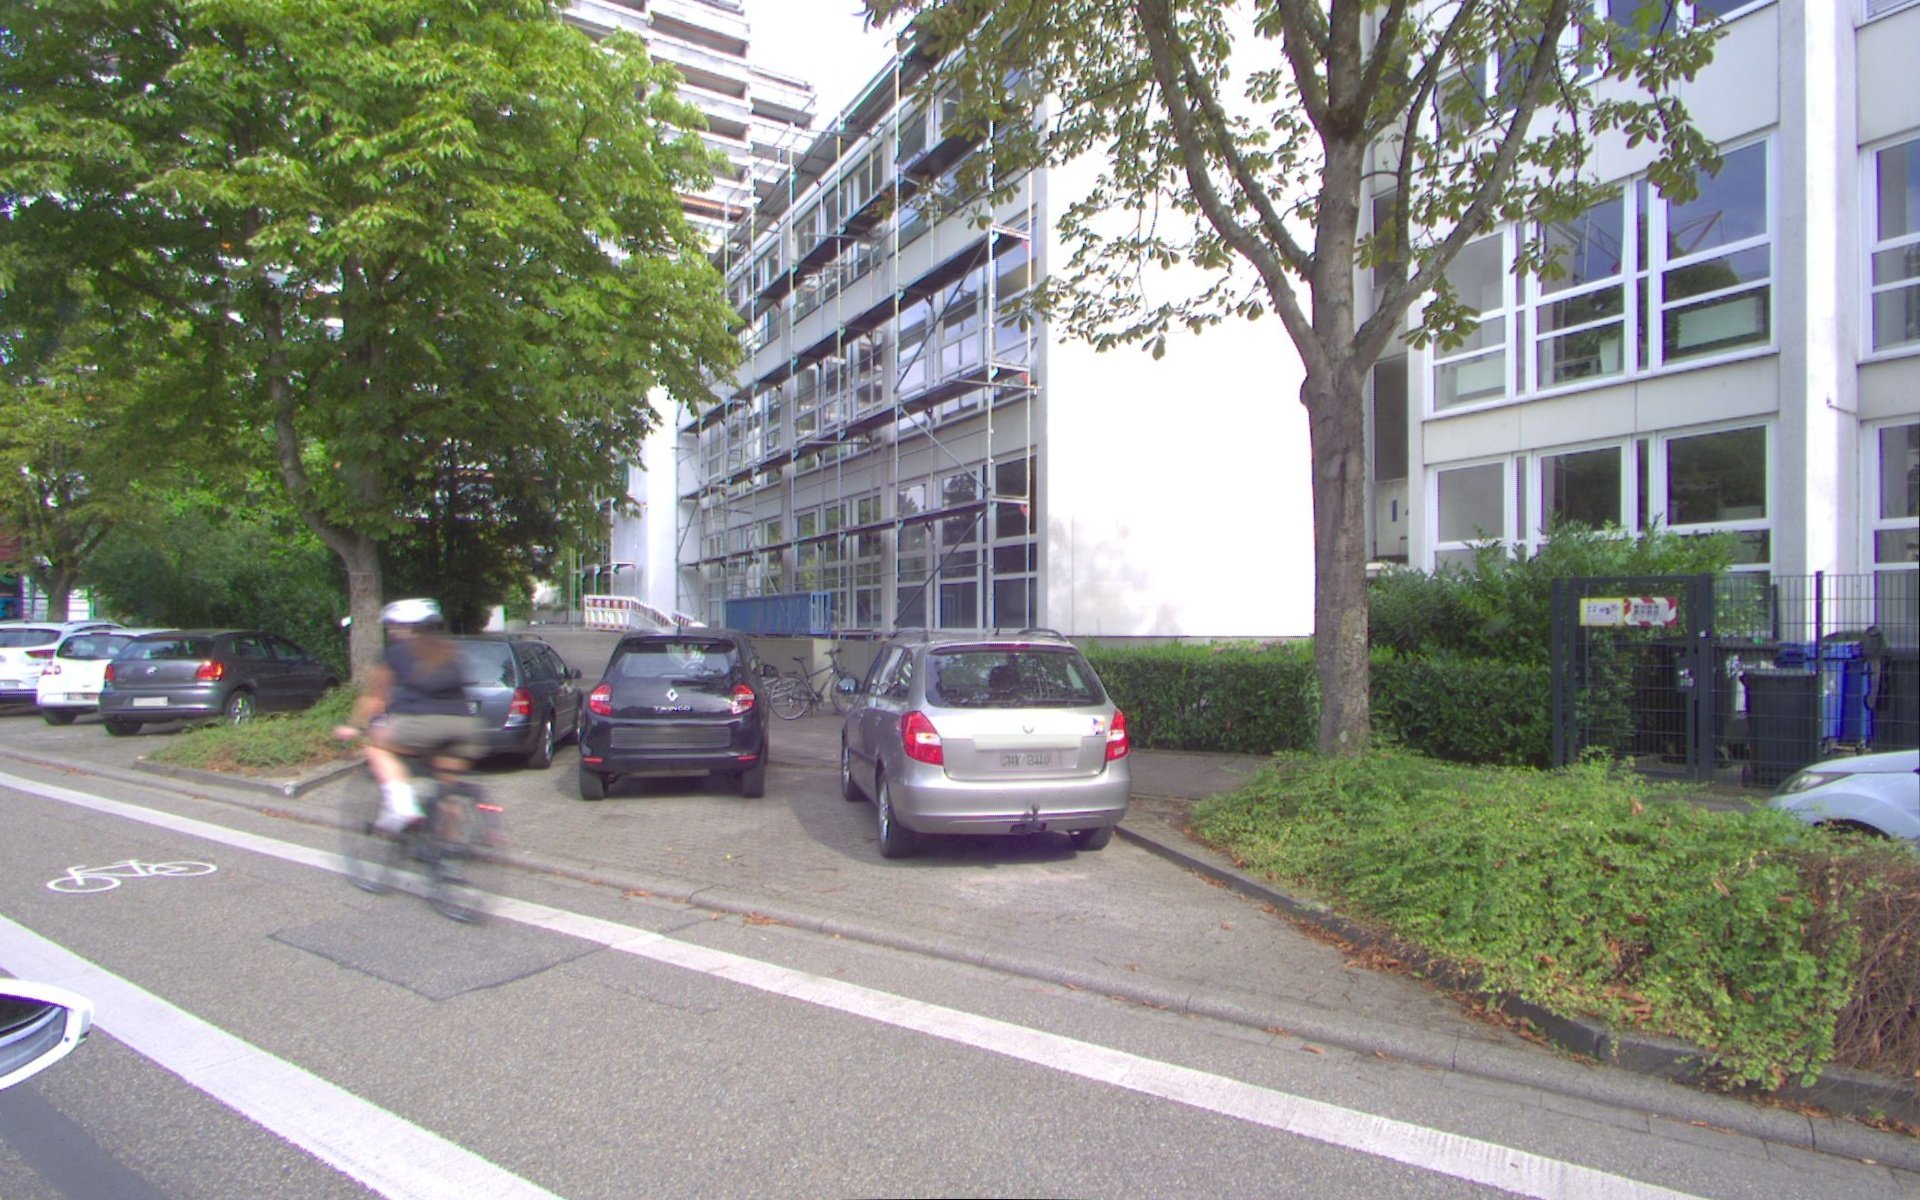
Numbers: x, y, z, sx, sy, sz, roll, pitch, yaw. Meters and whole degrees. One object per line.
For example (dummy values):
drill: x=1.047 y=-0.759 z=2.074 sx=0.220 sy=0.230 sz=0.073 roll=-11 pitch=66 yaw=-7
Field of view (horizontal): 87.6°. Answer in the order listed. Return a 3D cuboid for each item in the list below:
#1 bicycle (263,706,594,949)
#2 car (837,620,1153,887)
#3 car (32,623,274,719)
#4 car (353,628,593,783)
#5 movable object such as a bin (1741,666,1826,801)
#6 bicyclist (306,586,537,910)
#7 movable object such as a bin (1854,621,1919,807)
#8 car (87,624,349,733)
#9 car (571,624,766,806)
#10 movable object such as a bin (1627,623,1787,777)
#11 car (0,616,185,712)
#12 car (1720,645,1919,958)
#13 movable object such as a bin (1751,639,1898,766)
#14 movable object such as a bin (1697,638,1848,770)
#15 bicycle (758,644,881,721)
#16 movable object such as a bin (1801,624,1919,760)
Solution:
bicycle: x=-2.952 y=1.148 z=5.485 sx=2.041 sy=0.993 sz=0.637 roll=0 pitch=-1 yaw=31
car: x=0.014 y=0.964 z=7.807 sx=1.610 sy=1.541 sz=3.738 roll=1 pitch=-2 yaw=-12
car: x=-13.438 y=1.129 z=16.948 sx=1.530 sy=1.461 sz=3.447 roll=0 pitch=-1 yaw=-6
car: x=-5.393 y=1.080 z=11.582 sx=1.610 sy=1.477 sz=3.738 roll=1 pitch=-2 yaw=-12
movable object such as a bin: x=7.329 y=1.160 z=8.909 sx=0.566 sy=1.117 sz=0.647 roll=0 pitch=-2 yaw=42
bicyclist: x=-2.946 y=0.738 z=5.479 sx=1.094 sy=1.590 sz=0.637 roll=0 pitch=-1 yaw=31
movable object such as a bin: x=8.517 y=0.955 z=8.439 sx=1.316 sy=1.527 sz=1.067 roll=0 pitch=-2 yaw=34
car: x=-11.002 y=1.103 z=15.175 sx=1.593 sy=1.461 sz=3.536 roll=0 pitch=-2 yaw=-6
car: x=-2.877 y=1.045 z=10.469 sx=1.610 sy=1.541 sz=3.738 roll=1 pitch=-2 yaw=-12
movable object such as a bin: x=8.029 y=1.028 z=10.778 sx=1.105 sy=1.542 sz=1.072 roll=2 pitch=-2 yaw=-33
car: x=-16.182 y=1.107 z=18.330 sx=1.530 sy=1.593 sz=3.447 roll=0 pitch=-1 yaw=-6
car: x=5.562 y=0.939 z=4.033 sx=1.611 sy=1.478 sz=3.825 roll=1 pitch=-2 yaw=-14
movable object such as a bin: x=10.113 y=1.161 z=11.732 sx=1.021 sy=1.385 sz=1.072 roll=2 pitch=-2 yaw=-33
movable object such as a bin: x=9.131 y=1.129 z=11.273 sx=1.021 sy=1.385 sz=1.072 roll=2 pitch=-2 yaw=-33
bicycle: x=-2.314 y=1.338 z=16.568 sx=1.943 sy=1.143 sz=0.536 roll=-1 pitch=0 yaw=-27
movable object such as a bin: x=11.272 y=1.105 z=12.400 sx=1.021 sy=1.582 sz=1.072 roll=2 pitch=-2 yaw=-33
